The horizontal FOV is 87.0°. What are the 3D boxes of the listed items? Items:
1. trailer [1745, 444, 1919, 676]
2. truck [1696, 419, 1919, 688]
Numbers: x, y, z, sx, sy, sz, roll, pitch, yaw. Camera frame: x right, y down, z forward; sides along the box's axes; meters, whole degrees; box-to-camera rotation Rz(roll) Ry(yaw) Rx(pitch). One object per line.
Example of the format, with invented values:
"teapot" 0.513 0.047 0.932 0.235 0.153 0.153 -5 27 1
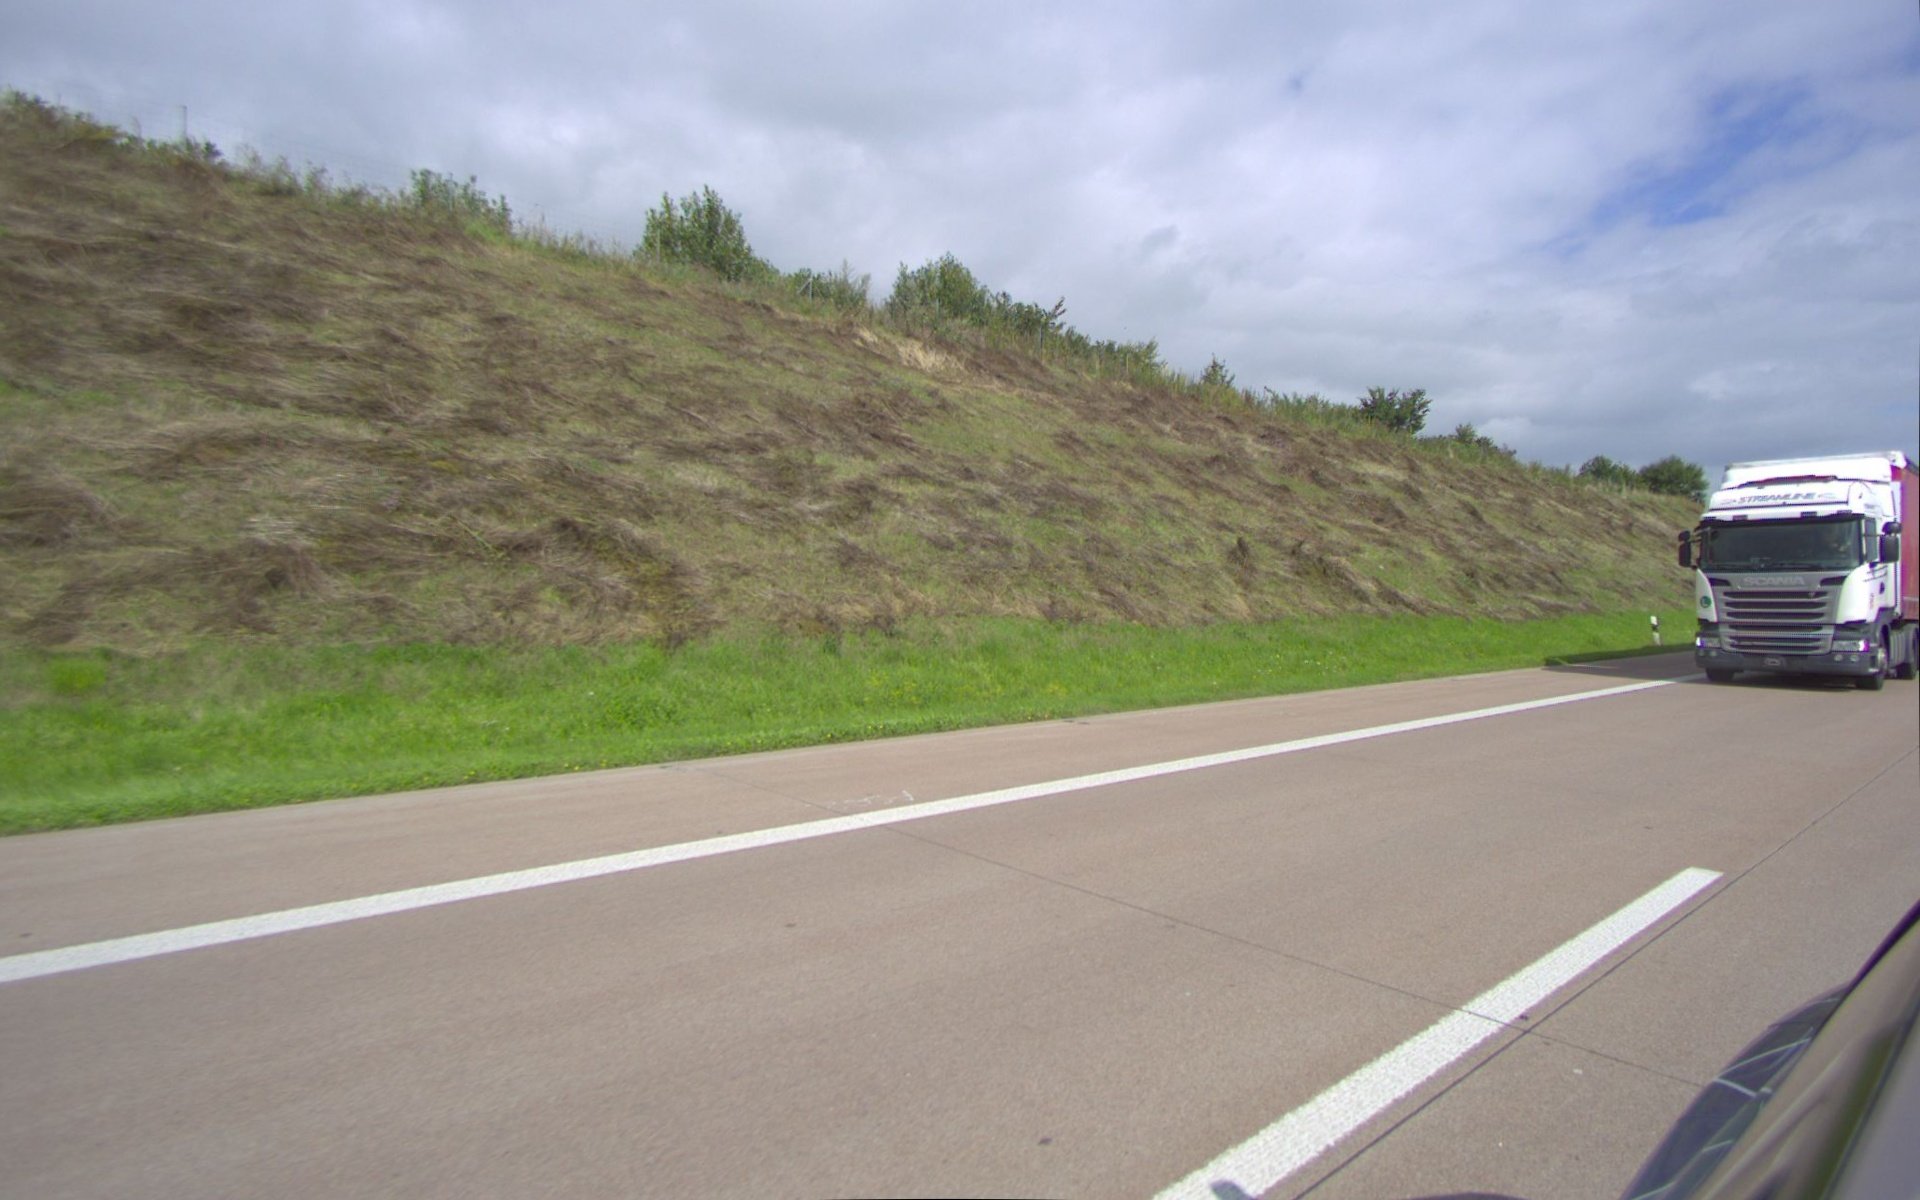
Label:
"trailer" 21.112 -0.744 23.051 12.565 4.145 2.677 0 1 -41
"truck" 16.204 -0.747 18.785 6.500 4.157 2.679 0 1 -41
